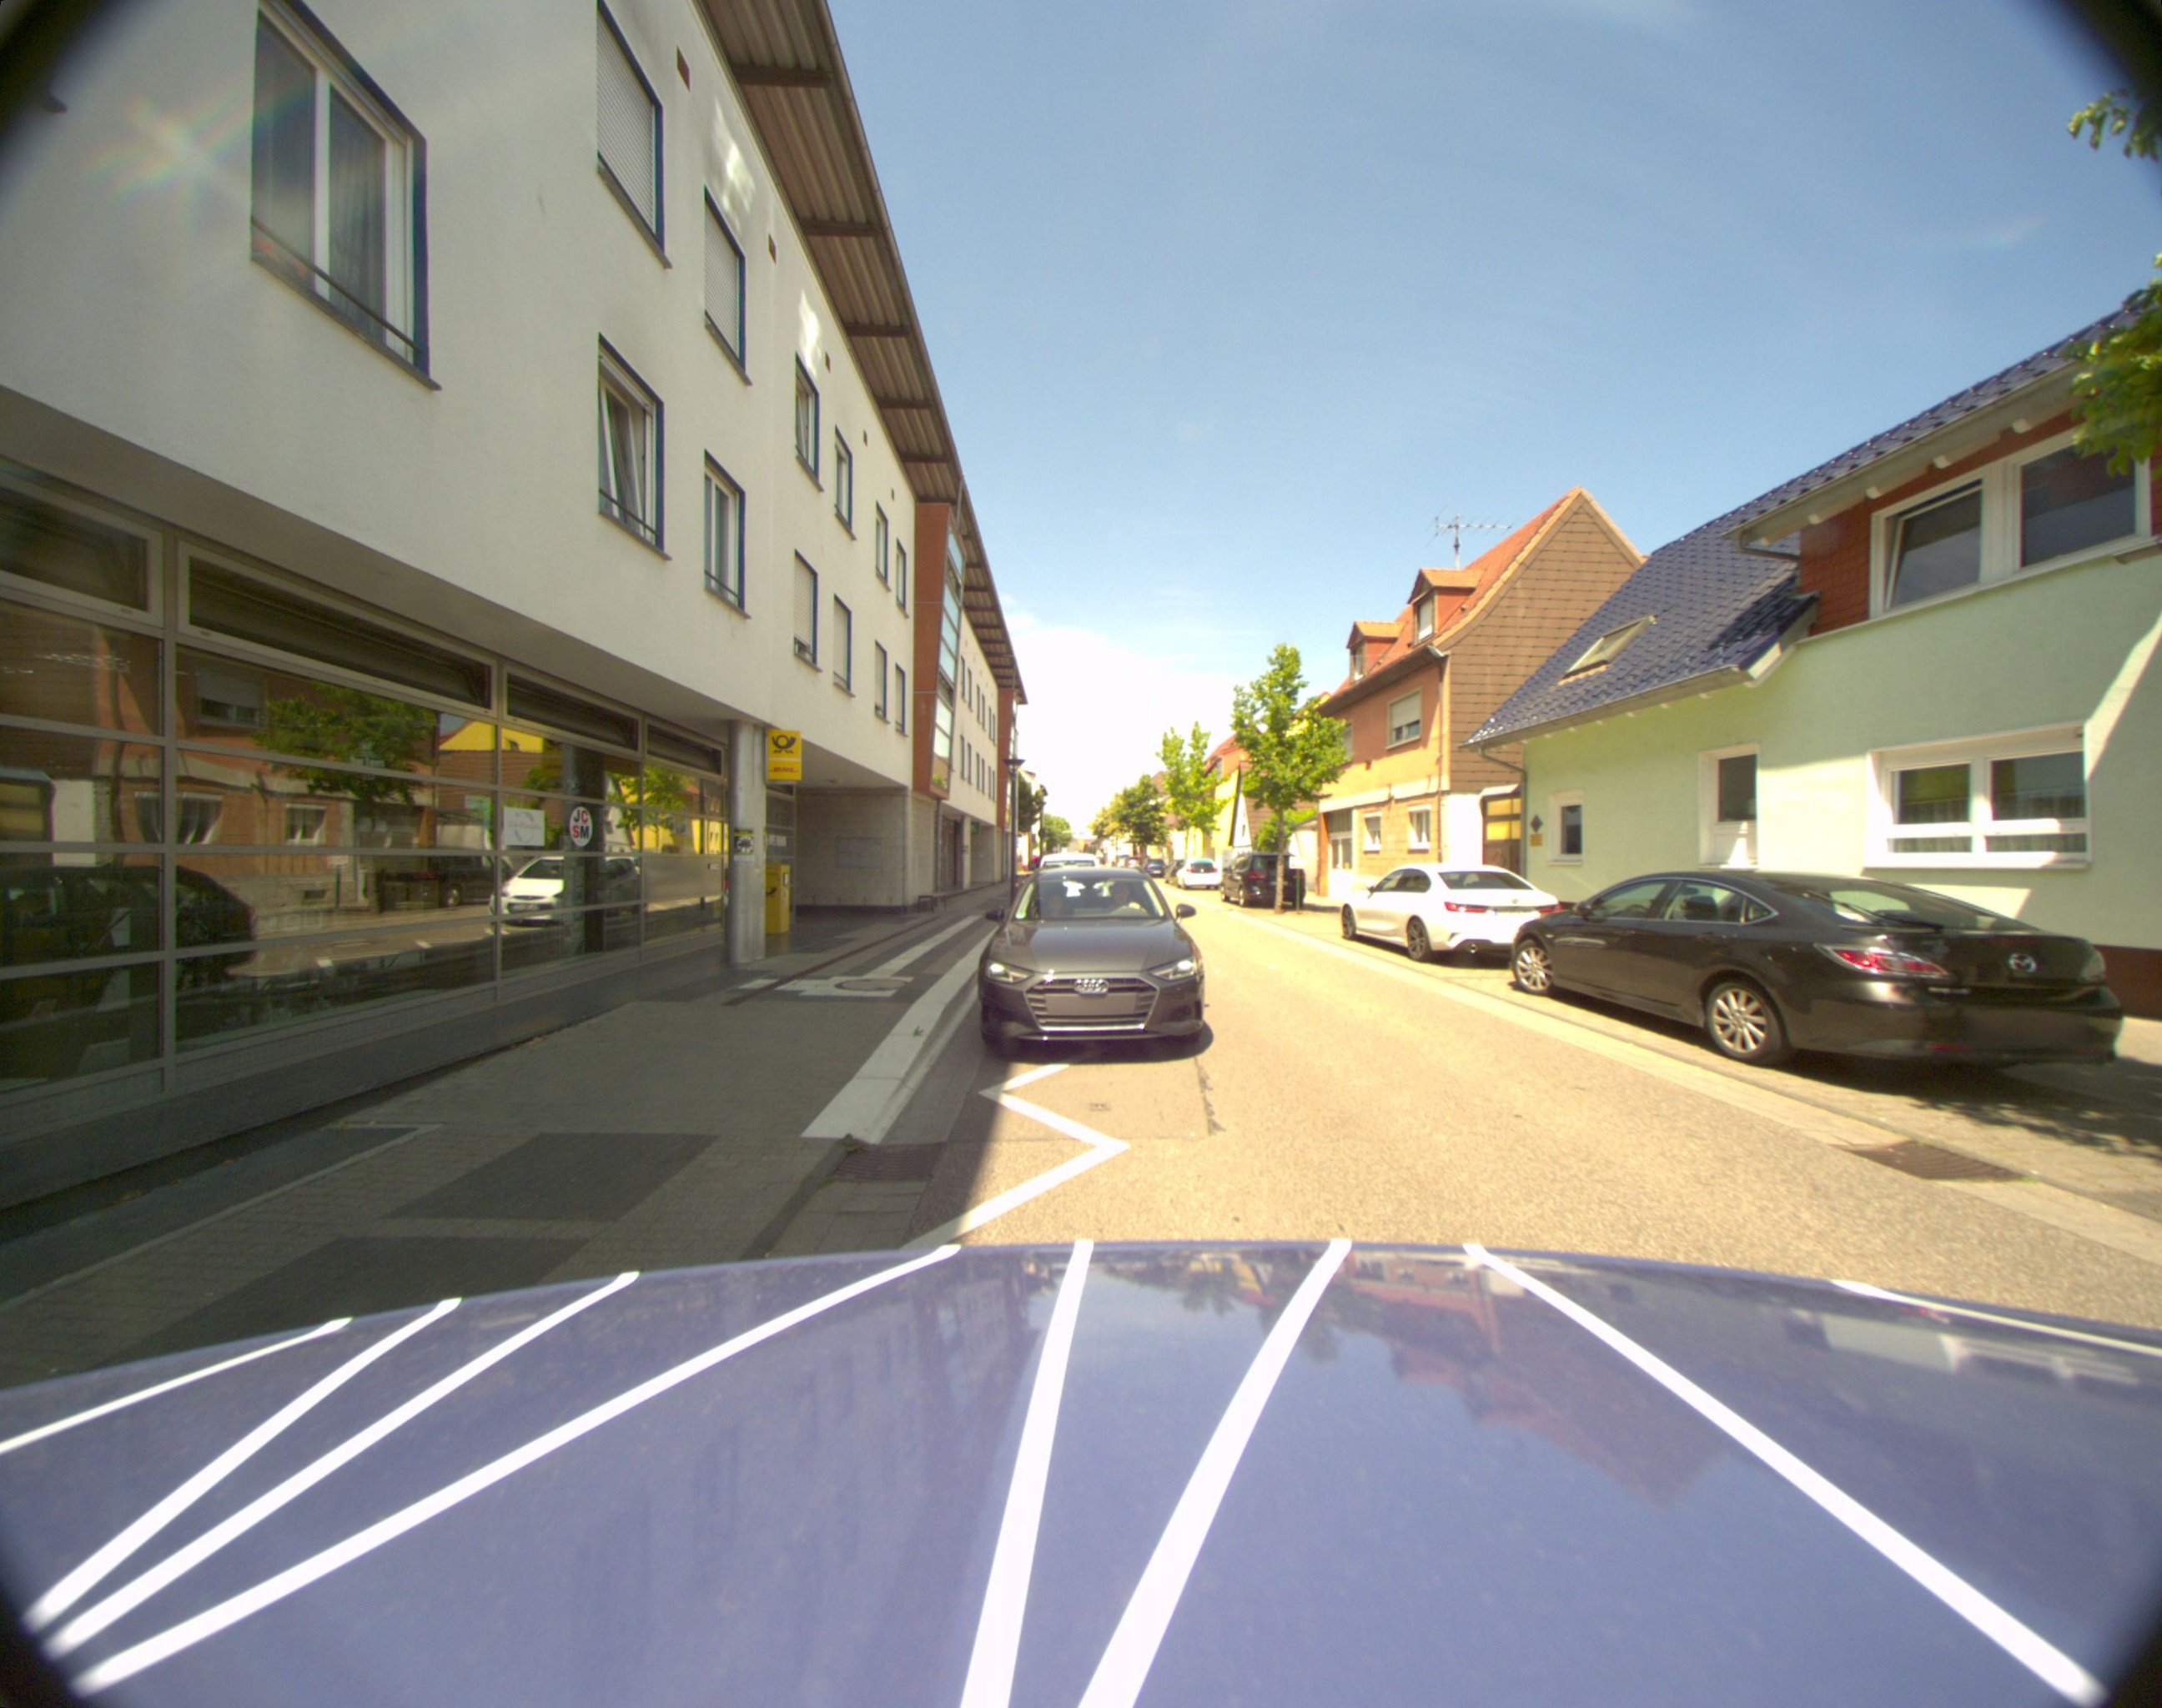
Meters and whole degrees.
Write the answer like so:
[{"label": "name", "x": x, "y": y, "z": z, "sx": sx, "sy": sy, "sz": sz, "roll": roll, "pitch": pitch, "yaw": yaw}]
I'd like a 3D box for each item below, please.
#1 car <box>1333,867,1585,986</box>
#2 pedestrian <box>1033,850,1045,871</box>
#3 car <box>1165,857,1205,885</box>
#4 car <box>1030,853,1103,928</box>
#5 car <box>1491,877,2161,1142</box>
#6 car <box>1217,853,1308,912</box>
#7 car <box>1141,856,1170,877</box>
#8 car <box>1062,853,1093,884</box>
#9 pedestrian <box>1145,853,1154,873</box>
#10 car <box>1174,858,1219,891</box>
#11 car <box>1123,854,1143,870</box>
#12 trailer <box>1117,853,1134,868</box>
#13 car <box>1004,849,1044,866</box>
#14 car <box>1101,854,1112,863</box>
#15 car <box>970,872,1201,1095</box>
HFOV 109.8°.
[{"label": "car", "x": 5.709, "y": 0.988, "z": 12.206, "sx": 1.724, "sy": 1.428, "sz": 4.459, "roll": 2, "pitch": 0, "yaw": -1}, {"label": "pedestrian", "x": -3.335, "y": 0.497, "z": 60.039, "sx": 0.826, "sy": 1.579, "sz": 0.919, "roll": 3, "pitch": 1, "yaw": 0}, {"label": "car", "x": 5.738, "y": 0.894, "z": 42.258, "sx": 1.649, "sy": 1.422, "sz": 4.098, "roll": 1, "pitch": 0, "yaw": 0}, {"label": "car", "x": -0.346, "y": 0.801, "z": 18.656, "sx": 1.581, "sy": 1.620, "sz": 4.064, "roll": 1, "pitch": 0, "yaw": -1}, {"label": "car", "x": 5.700, "y": 0.989, "z": 6.764, "sx": 1.665, "sy": 1.428, "sz": 4.538, "roll": 0, "pitch": 0, "yaw": 0}, {"label": "car", "x": 5.682, "y": 0.828, "z": 24.331, "sx": 1.780, "sy": 1.716, "sz": 4.519, "roll": 0, "pitch": 0, "yaw": -1}, {"label": "car", "x": 5.329, "y": 0.889, "z": 55.020, "sx": 1.660, "sy": 1.399, "sz": 4.157, "roll": 0, "pitch": 0, "yaw": 0}, {"label": "car", "x": -0.202, "y": 0.745, "z": 41.142, "sx": 1.581, "sy": 1.620, "sz": 4.064, "roll": 1, "pitch": 0, "yaw": -1}, {"label": "pedestrian", "x": 5.664, "y": 0.741, "z": 62.982, "sx": 0.631, "sy": 1.592, "sz": 0.528, "roll": 0, "pitch": 1, "yaw": 0}, {"label": "car", "x": 5.441, "y": 0.940, "z": 36.083, "sx": 1.558, "sy": 1.422, "sz": 3.409, "roll": 1, "pitch": 0, "yaw": 0}, {"label": "car", "x": 5.080, "y": 0.751, "z": 74.575, "sx": 1.753, "sy": 1.566, "sz": 4.157, "roll": 0, "pitch": 0, "yaw": 0}, {"label": "trailer", "x": 5.040, "y": 0.764, "z": 87.122, "sx": 1.493, "sy": 1.571, "sz": 3.882, "roll": -3, "pitch": 0, "yaw": -3}, {"label": "car", "x": -6.247, "y": 0.396, "z": 83.685, "sx": 4.204, "sy": 1.849, "sz": 2.000, "roll": 1, "pitch": 0, "yaw": -1}, {"label": "car", "x": 4.437, "y": 0.746, "z": 130.410, "sx": 1.693, "sy": 1.464, "sz": 3.999, "roll": 0, "pitch": 0, "yaw": -1}, {"label": "car", "x": 0.010, "y": 0.956, "z": 7.370, "sx": 1.581, "sy": 1.424, "sz": 4.064, "roll": -2, "pitch": 0, "yaw": -1}]
